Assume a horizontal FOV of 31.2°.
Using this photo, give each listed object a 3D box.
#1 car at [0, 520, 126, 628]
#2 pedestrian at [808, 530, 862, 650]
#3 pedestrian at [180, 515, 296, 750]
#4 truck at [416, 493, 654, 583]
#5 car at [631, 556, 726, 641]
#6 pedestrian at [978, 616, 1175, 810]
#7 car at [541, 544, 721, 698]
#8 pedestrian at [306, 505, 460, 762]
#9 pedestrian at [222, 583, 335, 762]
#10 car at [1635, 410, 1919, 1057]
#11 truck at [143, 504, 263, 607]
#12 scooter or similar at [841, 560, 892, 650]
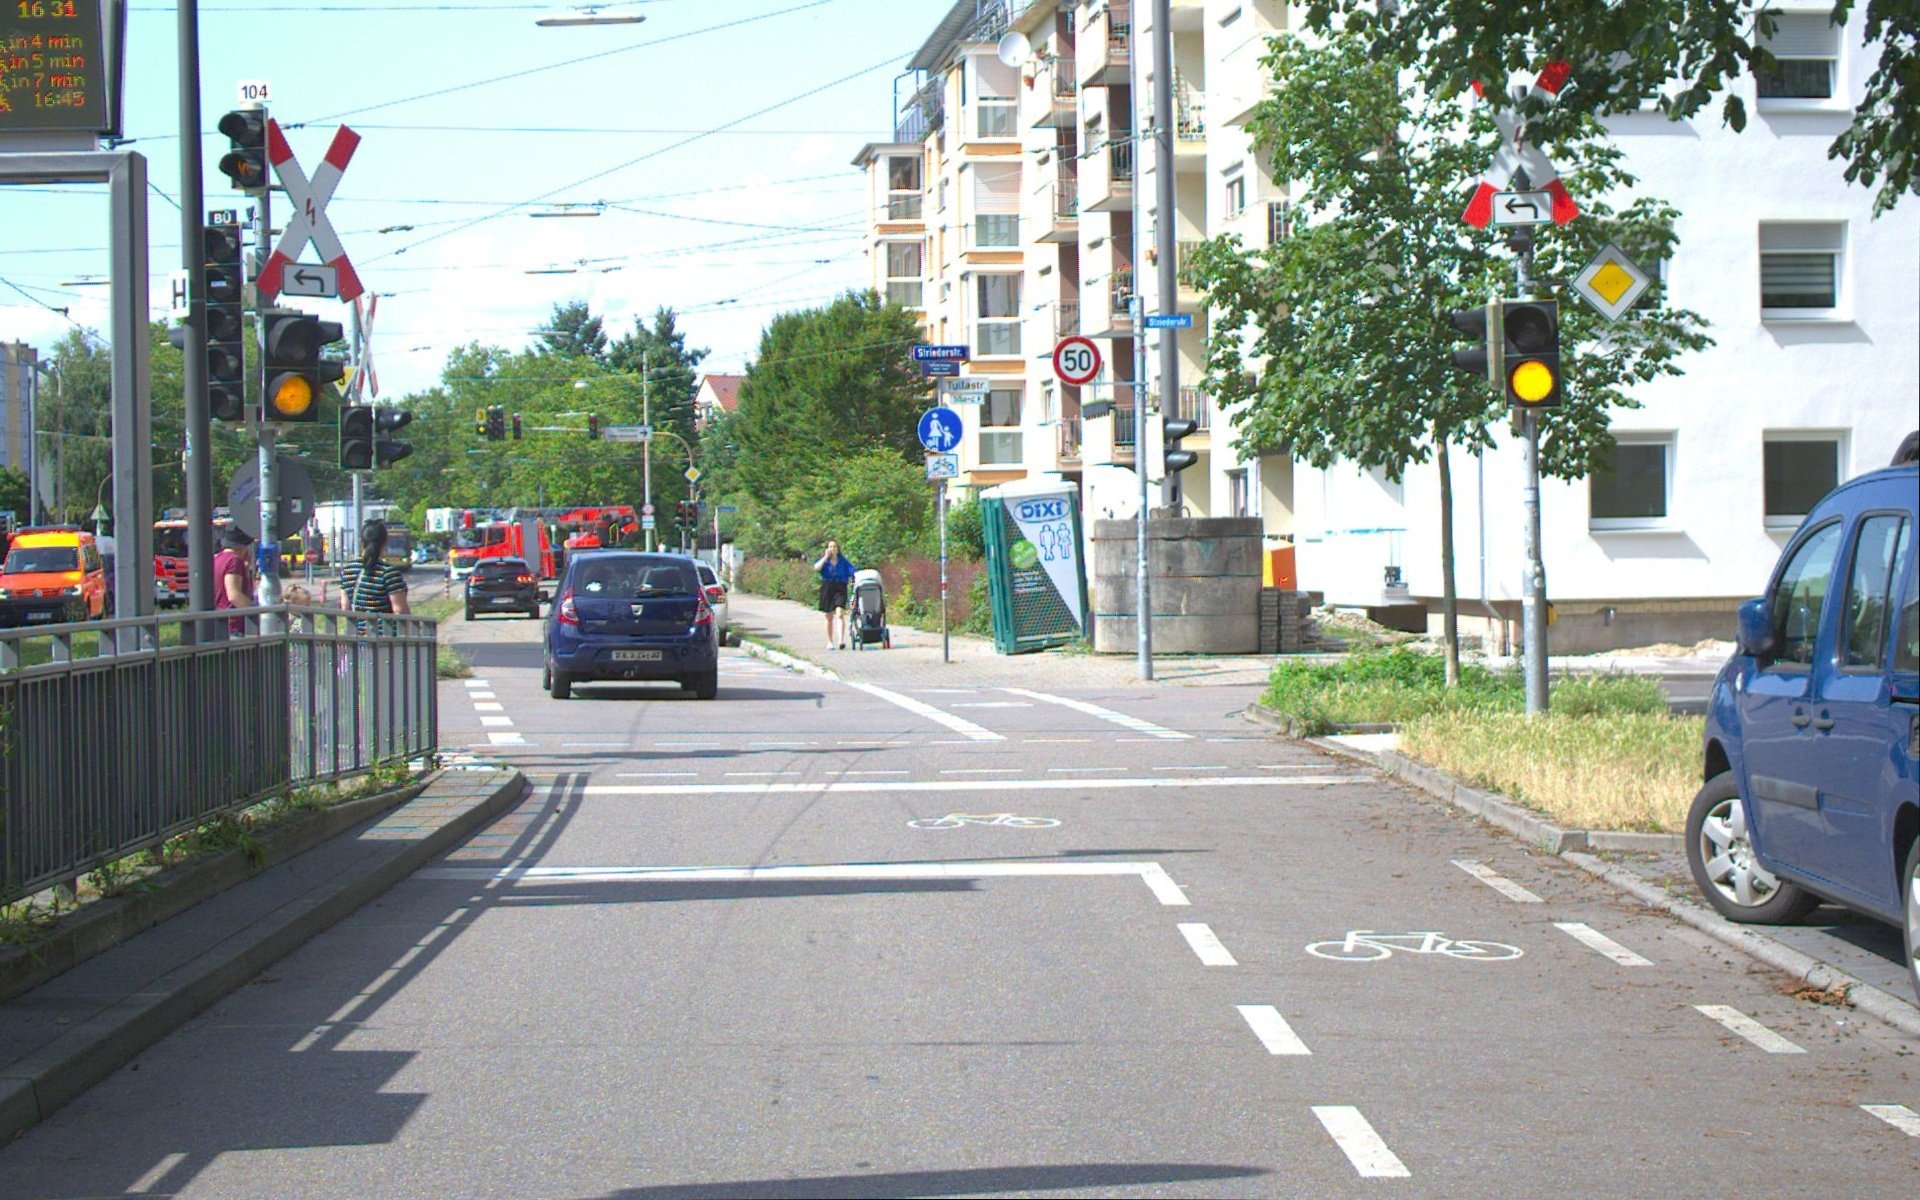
[{"bbox_3d":[-19.612,-0.593,75.002,1.993,2.267,4.834,0,1,-5],"label":"car"},{"bbox_3d":[-1.929,-0.158,52.919,0.701,1.783,1.030,-4,1,-2],"label":"pedestrian"},{"bbox_3d":[-5.148,0.229,24.545,0.705,1.642,0.637,1,0,-5],"label":"pedestrian"},{"bbox_3d":[-17.402,-2.509,141.526,10.140,3.459,2.674,1,0,-44],"label":"truck"},{"bbox_3d":[-5.085,-0.042,61.804,1.622,1.460,3.511,1,0,-6],"label":"car"},{"bbox_3d":[1.262,1.219,38.812,1.993,2.007,4.000,1,0,-1],"label":"pedestrian"},{"bbox_3d":[-3.412,0.197,36.208,1.743,1.502,4.001,1,0,-4],"label":"car"},{"bbox_3d":[-3.848,0.214,22.891,0.845,1.662,0.799,-1,0,-20],"label":"pedestrian"},{"bbox_3d":[-4.631,0.482,23.324,0.636,1.176,0.799,-1,0,-18],"label":"pedestrian"},{"bbox_3d":[3.696,0.309,11.986,1.823,1.889,4.184,-2,1,0],"label":"car"},{"bbox_3d":[-24.619,-1.445,112.121,2.596,3.175,8.384,-1,1,-4],"label":"truck"},{"bbox_3d":[-1.412,0.077,52.030,0.662,1.299,0.868,-4,1,-3],"label":"scooter or similar"}]
